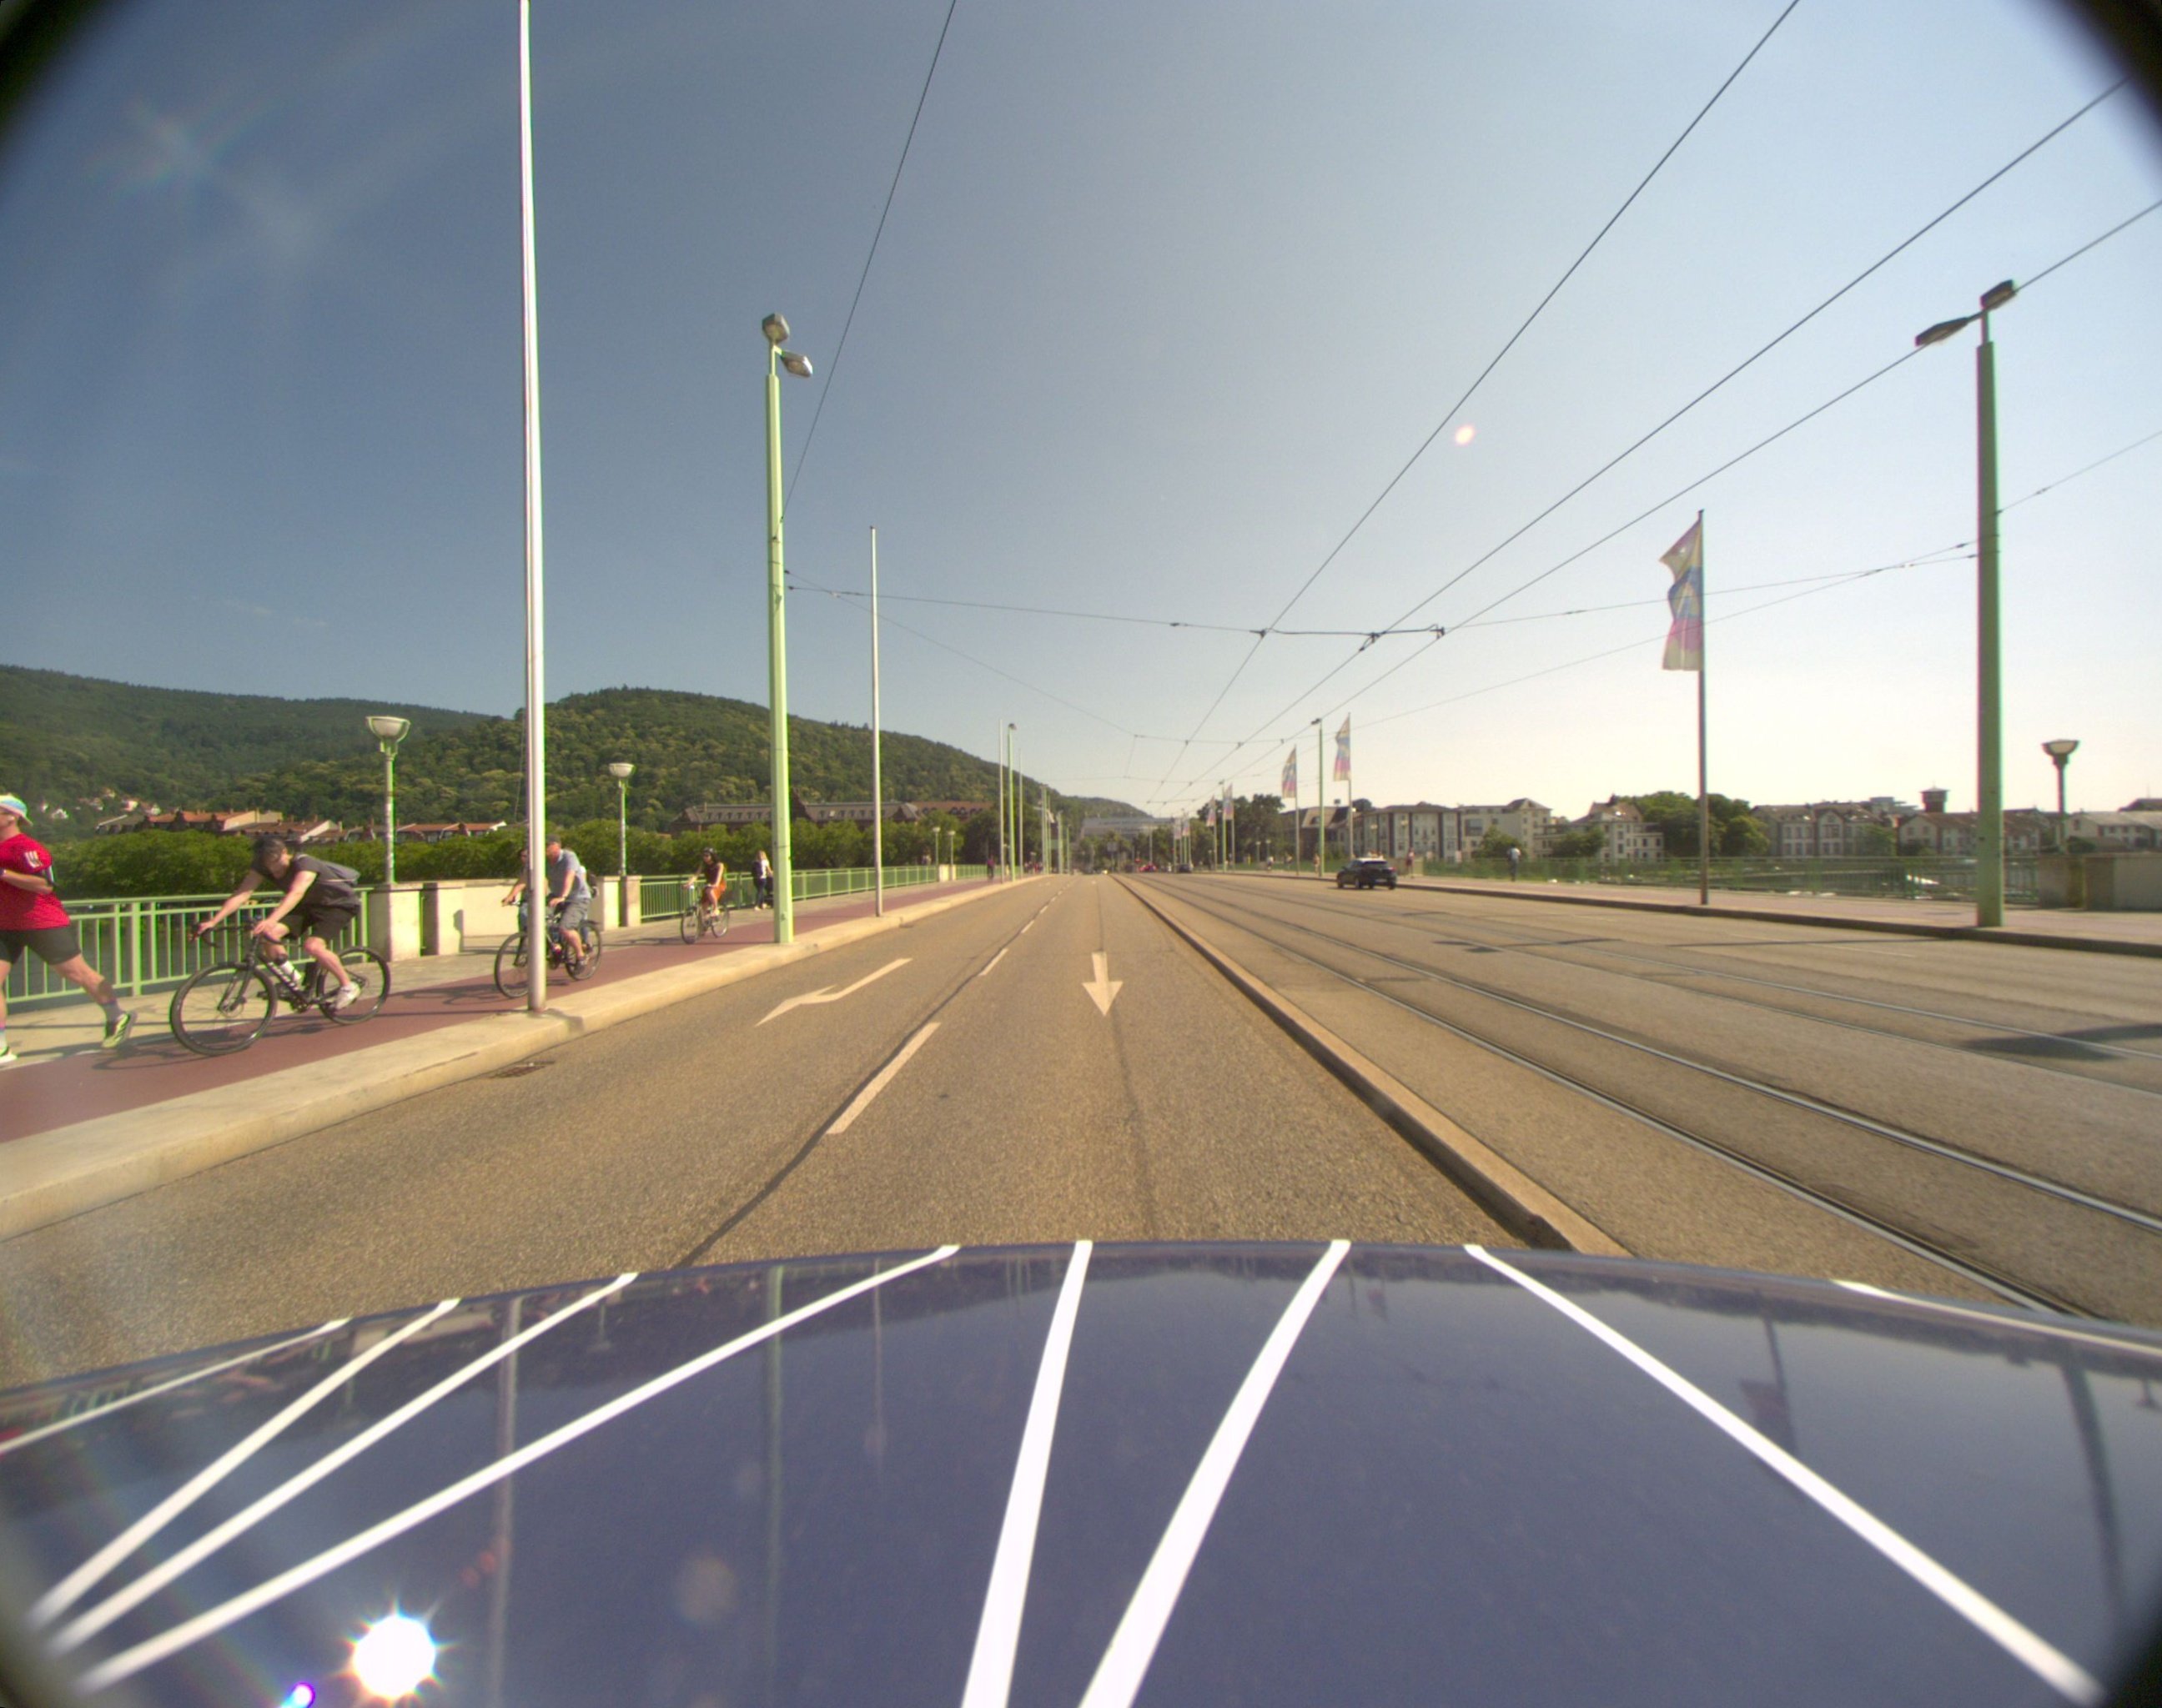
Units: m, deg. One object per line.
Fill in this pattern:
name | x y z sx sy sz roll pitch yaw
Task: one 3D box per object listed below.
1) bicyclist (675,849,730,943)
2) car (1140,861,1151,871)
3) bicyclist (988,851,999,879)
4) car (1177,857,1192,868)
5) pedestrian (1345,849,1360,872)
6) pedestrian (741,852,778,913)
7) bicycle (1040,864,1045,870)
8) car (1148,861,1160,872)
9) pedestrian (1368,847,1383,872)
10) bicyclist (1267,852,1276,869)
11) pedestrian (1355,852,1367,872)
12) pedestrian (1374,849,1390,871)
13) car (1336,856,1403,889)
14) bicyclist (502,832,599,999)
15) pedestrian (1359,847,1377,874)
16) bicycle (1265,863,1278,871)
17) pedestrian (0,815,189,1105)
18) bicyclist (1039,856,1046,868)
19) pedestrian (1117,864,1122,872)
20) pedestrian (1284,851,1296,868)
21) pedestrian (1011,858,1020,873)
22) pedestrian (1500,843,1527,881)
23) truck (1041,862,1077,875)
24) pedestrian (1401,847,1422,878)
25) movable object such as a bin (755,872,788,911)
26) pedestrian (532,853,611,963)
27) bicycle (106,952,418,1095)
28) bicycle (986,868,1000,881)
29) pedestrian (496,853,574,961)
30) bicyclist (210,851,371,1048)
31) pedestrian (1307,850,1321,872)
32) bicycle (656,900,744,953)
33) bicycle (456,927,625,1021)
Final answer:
bicyclist | -6.788 0.733 13.653 0.606 1.641 0.702 0 1 2
car | 12.451 2.297 147.624 1.814 1.611 4.000 -5 0 2
bicyclist | -5.686 0.702 49.205 0.587 1.759 0.672 0 1 2
car | 14.659 1.249 107.782 1.672 1.428 4.000 -1 1 2
pedestrian | 19.599 0.452 54.816 0.627 1.590 1.022 -3 1 1
pedestrian | -9.070 0.792 21.464 0.664 1.696 0.859 0 1 1
bicycle | -5.132 1.764 101.779 0.595 0.761 1.866 0 0 1
car | 12.992 2.271 135.674 1.714 1.686 4.000 -5 0 2
pedestrian | 20.450 0.352 52.797 0.592 1.690 1.022 -3 1 1
bicyclist | 18.022 0.595 72.020 0.666 1.641 0.622 -1 1 2
pedestrian | 20.167 0.595 54.775 0.547 1.429 0.789 -3 1 1
pedestrian | 19.431 0.378 49.091 0.592 1.406 1.022 -3 0 1
car | 13.402 0.826 35.525 1.720 1.446 3.901 0 0 1
bicyclist | -5.973 0.666 8.586 0.588 1.809 0.702 0 1 -1
pedestrian | 18.724 0.410 49.601 0.671 1.690 1.022 -3 1 1
bicycle | 18.048 1.193 72.048 0.667 0.712 2.173 -1 0 1
pedestrian | -7.540 0.698 5.492 0.813 1.913 1.127 0 1 1
bicyclist | -5.162 1.101 101.868 0.731 1.655 0.844 -1 0 2
pedestrian | 10.391 3.792 204.612 1.035 2.002 1.201 -3 2 -7
pedestrian | 20.859 0.545 75.838 0.787 1.690 1.022 -3 1 1
pedestrian | -7.346 1.265 85.247 0.949 1.653 1.082 1 0 1
pedestrian | 20.053 0.377 35.232 0.592 1.690 1.022 -3 1 1
truck | -5.042 3.268 172.176 7.683 2.248 2.663 -5 0 5
pedestrian | 18.649 0.463 42.938 0.686 1.680 1.022 -3 1 1
movable object such as a bin | -9.073 1.097 22.316 0.583 1.084 0.933 0 0 0
pedestrian | -7.920 0.815 11.842 0.664 1.649 0.825 0 1 1
bicycle | -6.509 1.300 6.217 0.595 0.761 1.831 0 0 -1
bicycle | -5.685 1.312 49.140 0.595 0.761 1.866 0 0 1
pedestrian | -8.603 0.811 11.994 0.669 1.649 0.746 0 1 1
bicyclist | -6.524 0.749 6.309 0.588 1.550 0.702 0 1 -1
pedestrian | 18.931 0.556 61.753 0.787 1.690 1.022 -3 1 1
bicycle | -6.794 1.270 13.654 0.595 0.761 1.866 0 0 1
bicycle | -5.973 1.288 8.549 0.595 0.761 1.866 0 0 -1
